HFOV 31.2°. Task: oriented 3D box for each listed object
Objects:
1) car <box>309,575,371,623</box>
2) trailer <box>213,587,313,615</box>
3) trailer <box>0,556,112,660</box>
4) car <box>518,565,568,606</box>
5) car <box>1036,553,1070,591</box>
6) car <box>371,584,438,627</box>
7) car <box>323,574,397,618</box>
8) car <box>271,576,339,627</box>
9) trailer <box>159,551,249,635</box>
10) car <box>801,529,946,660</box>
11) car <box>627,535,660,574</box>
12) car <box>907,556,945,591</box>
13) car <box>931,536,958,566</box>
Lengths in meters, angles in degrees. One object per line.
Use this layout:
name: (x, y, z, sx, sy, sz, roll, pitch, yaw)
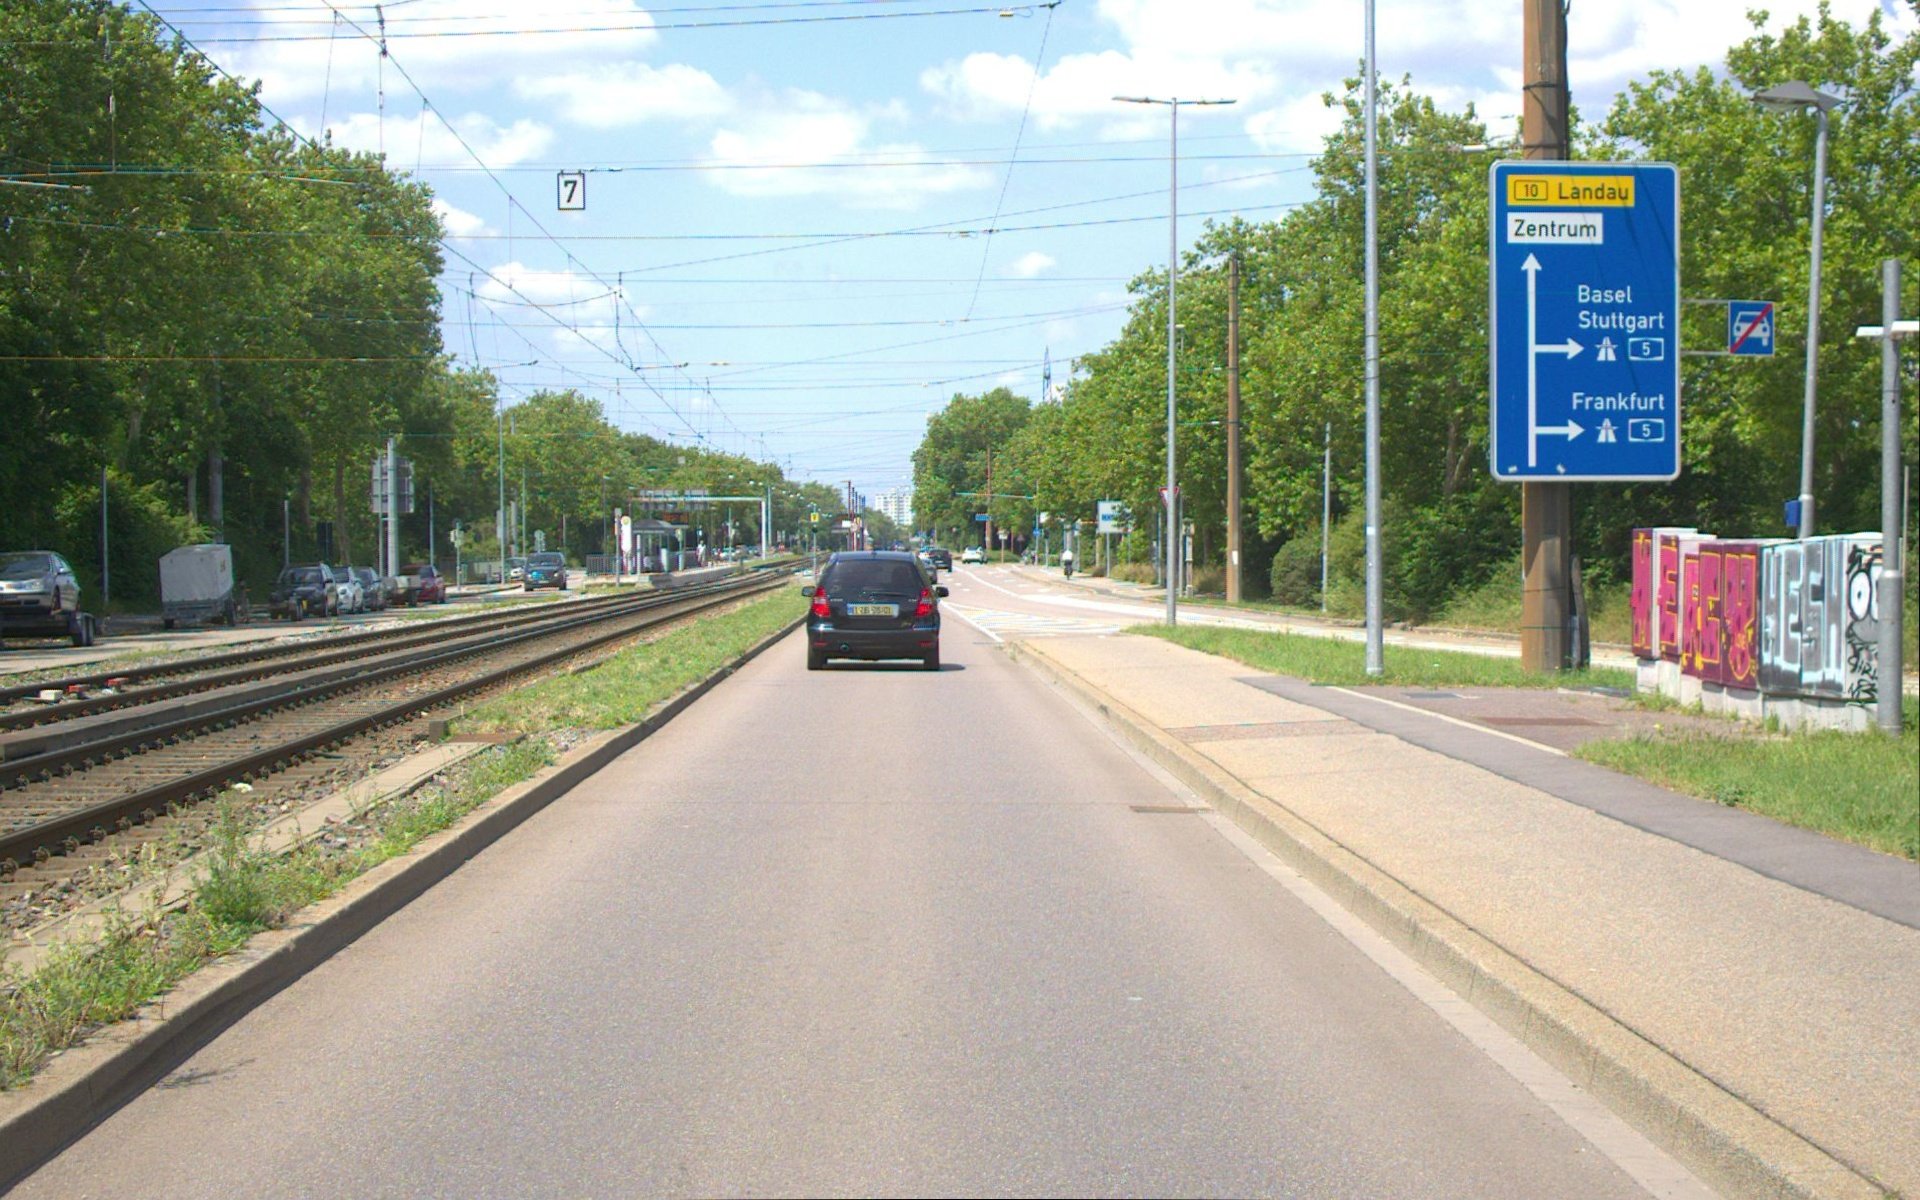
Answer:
car: (-19.362, -0.040, 107.461, 1.433, 1.446, 3.741, 1, 0, -3)
trailer: (-19.018, 0.040, 93.944, 1.993, 0.740, 4.000, 0, 0, -1)
trailer: (-17.914, 0.106, 65.674, 2.461, 1.882, 5.963, 1, 0, -5)
car: (-20.574, -0.723, 169.703, 1.993, 2.007, 4.000, -1, 0, -1)
car: (5.140, -1.552, 190.457, 1.612, 2.006, 3.440, 1, 2, -2)
car: (-21.166, 0.206, 131.085, 1.993, 1.568, 4.000, 0, 1, -2)
car: (-19.707, -0.135, 113.082, 1.870, 1.396, 4.419, 1, 1, -3)
car: (-19.361, 0.033, 101.750, 1.433, 1.446, 3.922, 1, 0, -3)
trailer: (-18.917, -0.199, 86.111, 1.609, 2.007, 3.917, 1, 1, -4)
car: (-1.125, -0.114, 46.601, 1.853, 1.564, 4.389, 1, 2, 0)
car: (-17.517, -2.529, 190.214, 1.585, 2.006, 4.111, 1, 2, -3)
car: (-1.777, -1.405, 181.134, 1.885, 1.634, 4.000, 4, 1, 0)
car: (-1.113, -3.451, 242.214, 1.786, 2.006, 4.001, 1, 2, -1)
